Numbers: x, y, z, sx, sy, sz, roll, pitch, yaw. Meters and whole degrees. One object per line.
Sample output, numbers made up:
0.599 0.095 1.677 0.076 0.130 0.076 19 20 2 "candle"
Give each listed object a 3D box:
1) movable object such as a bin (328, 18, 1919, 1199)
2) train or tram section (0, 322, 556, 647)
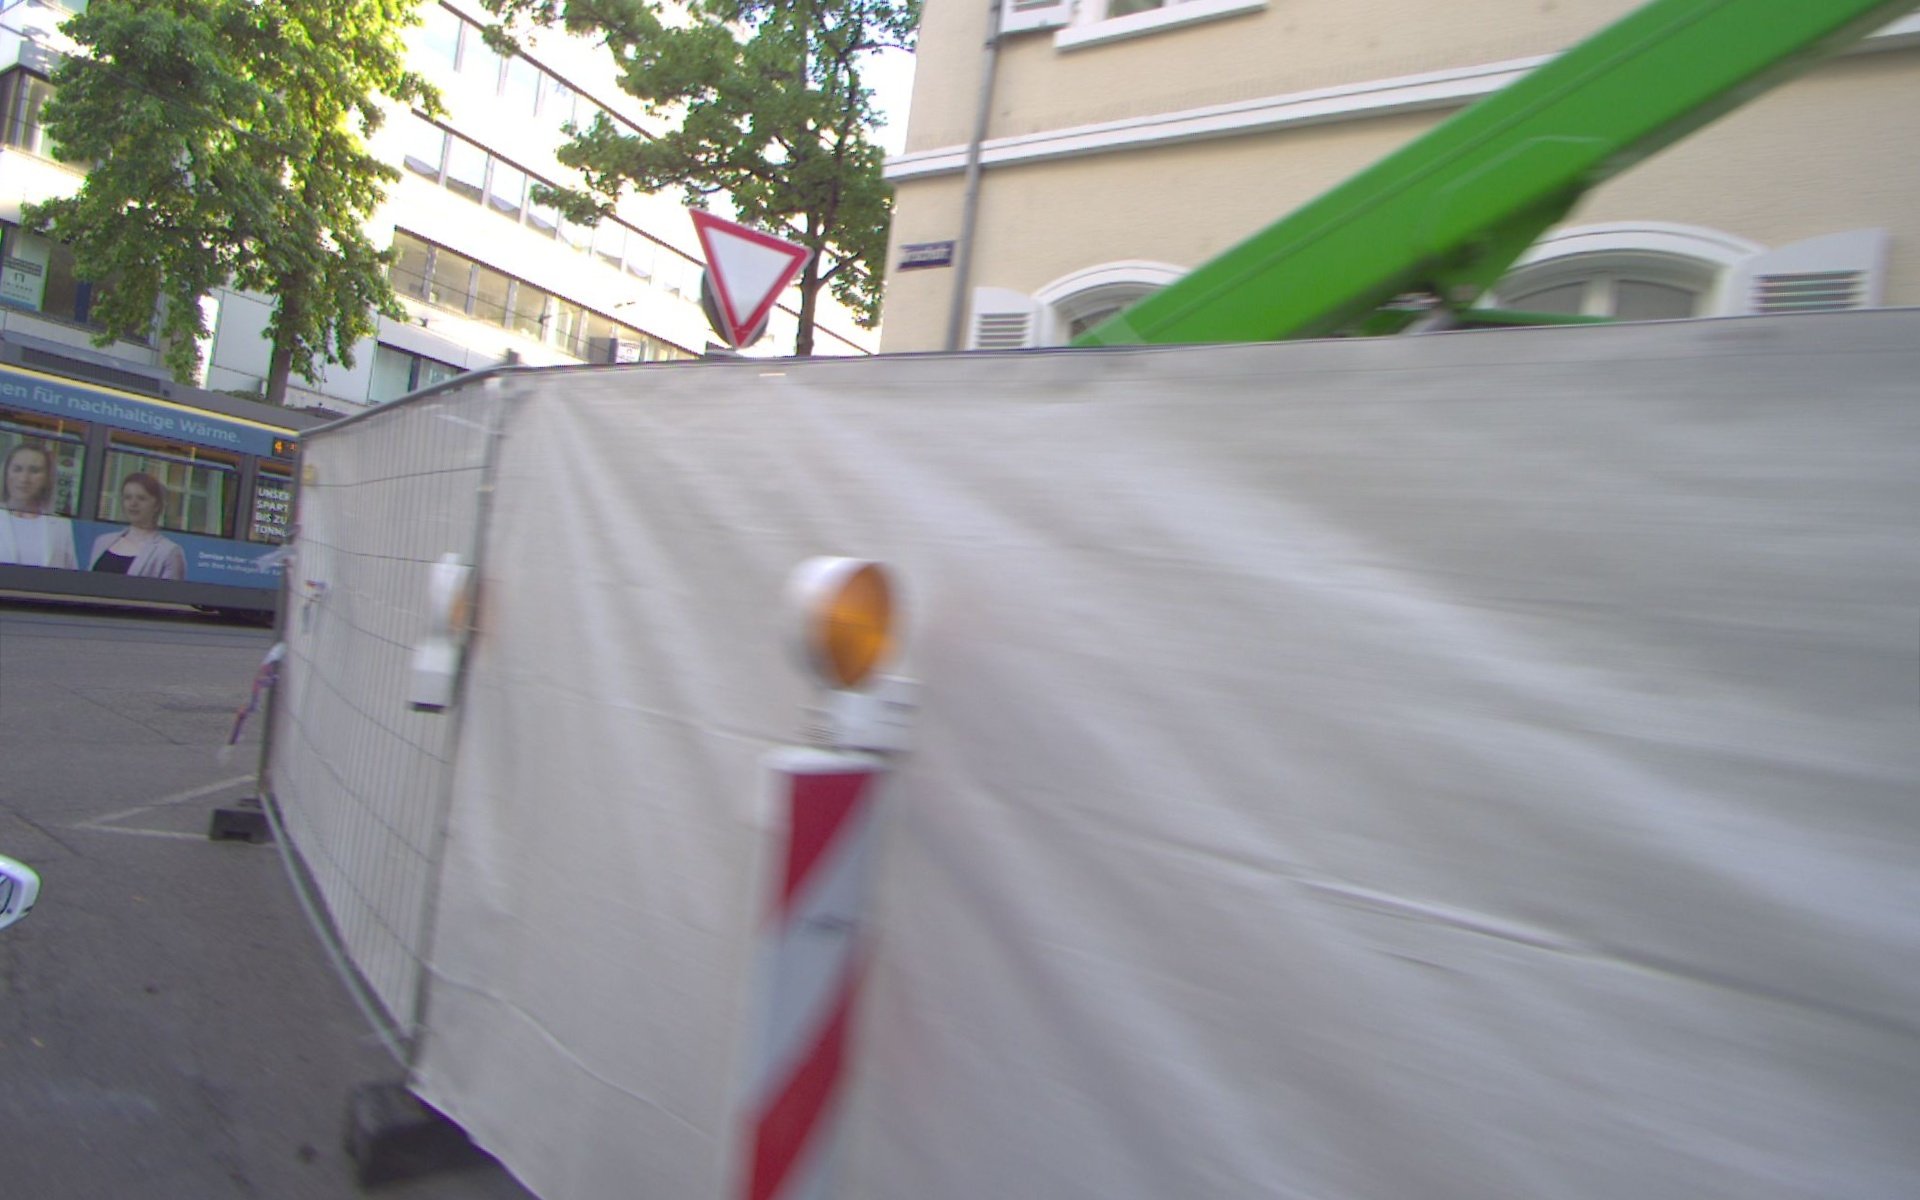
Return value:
0.560 0.272 3.942 5.470 2.907 2.640 8 0 30 "movable object such as a bin"
-11.718 -1.503 15.315 2.976 3.565 10.355 7 -1 31 "train or tram section"
